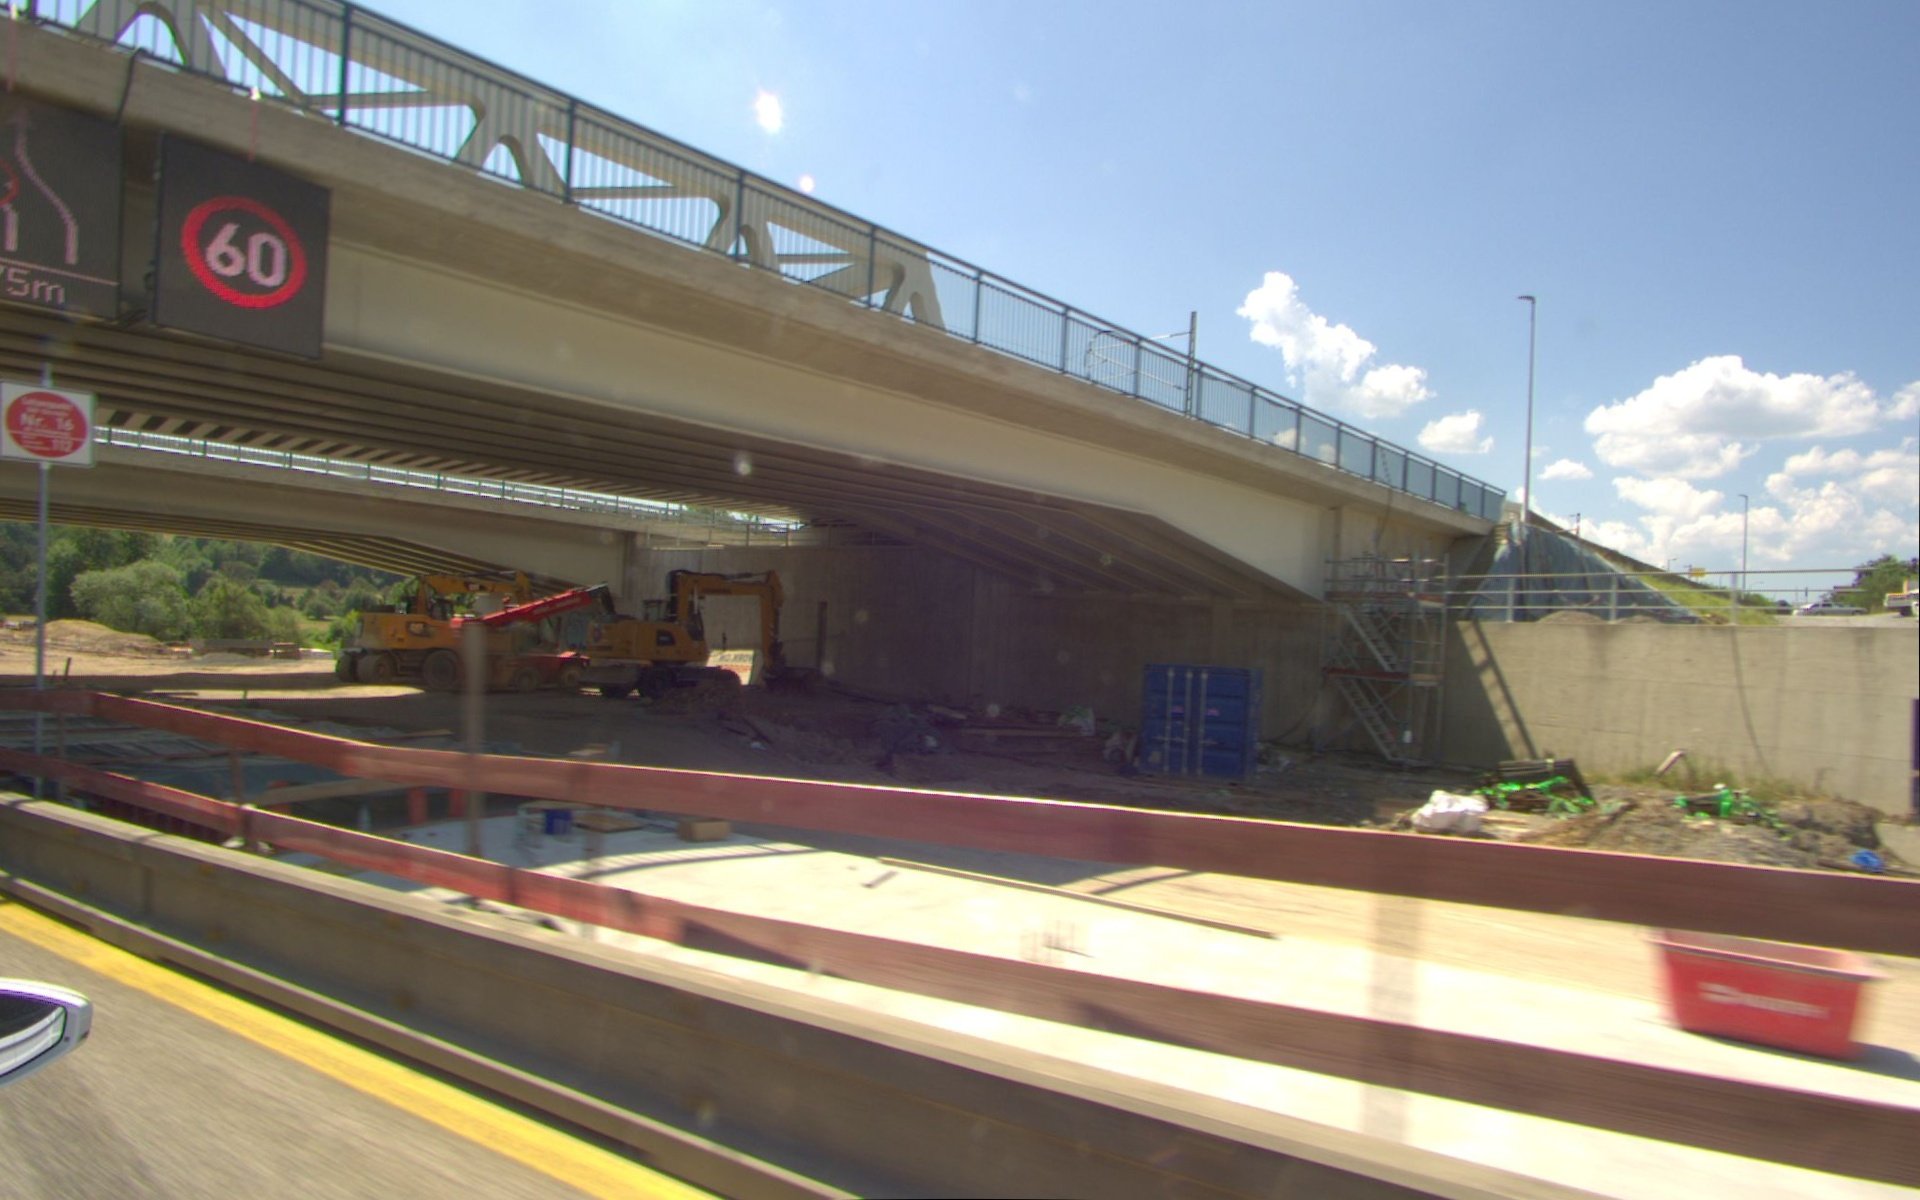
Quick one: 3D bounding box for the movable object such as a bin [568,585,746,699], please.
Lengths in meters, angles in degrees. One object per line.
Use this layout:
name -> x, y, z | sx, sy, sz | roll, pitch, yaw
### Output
movable object such as a bin -> -9.617, 1.419, 32.090 | 2.952, 3.327, 4.542 | -2, -4, 36

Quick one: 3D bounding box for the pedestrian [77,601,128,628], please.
pedestrian -> -68.439, 1.210, 79.939 | 3.942, 2.039, 1.991 | -2, -2, 31

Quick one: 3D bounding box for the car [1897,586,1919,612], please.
car -> 76.730, -0.100, 78.163 | 4.922, 1.984, 1.988 | -2, -3, 37

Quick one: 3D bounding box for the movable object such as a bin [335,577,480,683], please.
movable object such as a bin -> -20.077, 1.180, 36.473 | 2.873, 3.585, 3.862 | -2, -4, 43

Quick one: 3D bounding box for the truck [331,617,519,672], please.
truck -> -22.391, 1.932, 42.240 | 2.630, 2.099, 6.507 | 0, -3, 35

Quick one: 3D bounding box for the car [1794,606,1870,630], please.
car -> 77.566, 1.604, 89.147 | 4.922, 1.984, 1.988 | -2, -3, 37

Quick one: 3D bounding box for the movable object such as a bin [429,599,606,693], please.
movable object such as a bin -> -15.711, 1.710, 35.849 | 2.464, 3.093, 5.227 | -2, -4, 36

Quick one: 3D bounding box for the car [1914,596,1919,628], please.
car -> 60.983, 0.673, 60.213 | 4.922, 1.984, 1.988 | -2, -3, 37

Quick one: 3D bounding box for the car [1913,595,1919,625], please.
car -> 66.369, 0.597, 65.946 | 4.922, 1.984, 1.988 | -2, -3, 37

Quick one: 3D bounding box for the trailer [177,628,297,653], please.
trailer -> -37.858, 2.151, 52.549 | 2.027, 1.235, 4.706 | -2, -3, 32

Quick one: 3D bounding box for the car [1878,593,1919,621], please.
car -> 69.479, 0.487, 71.948 | 4.922, 1.984, 1.988 | -2, -3, 37
